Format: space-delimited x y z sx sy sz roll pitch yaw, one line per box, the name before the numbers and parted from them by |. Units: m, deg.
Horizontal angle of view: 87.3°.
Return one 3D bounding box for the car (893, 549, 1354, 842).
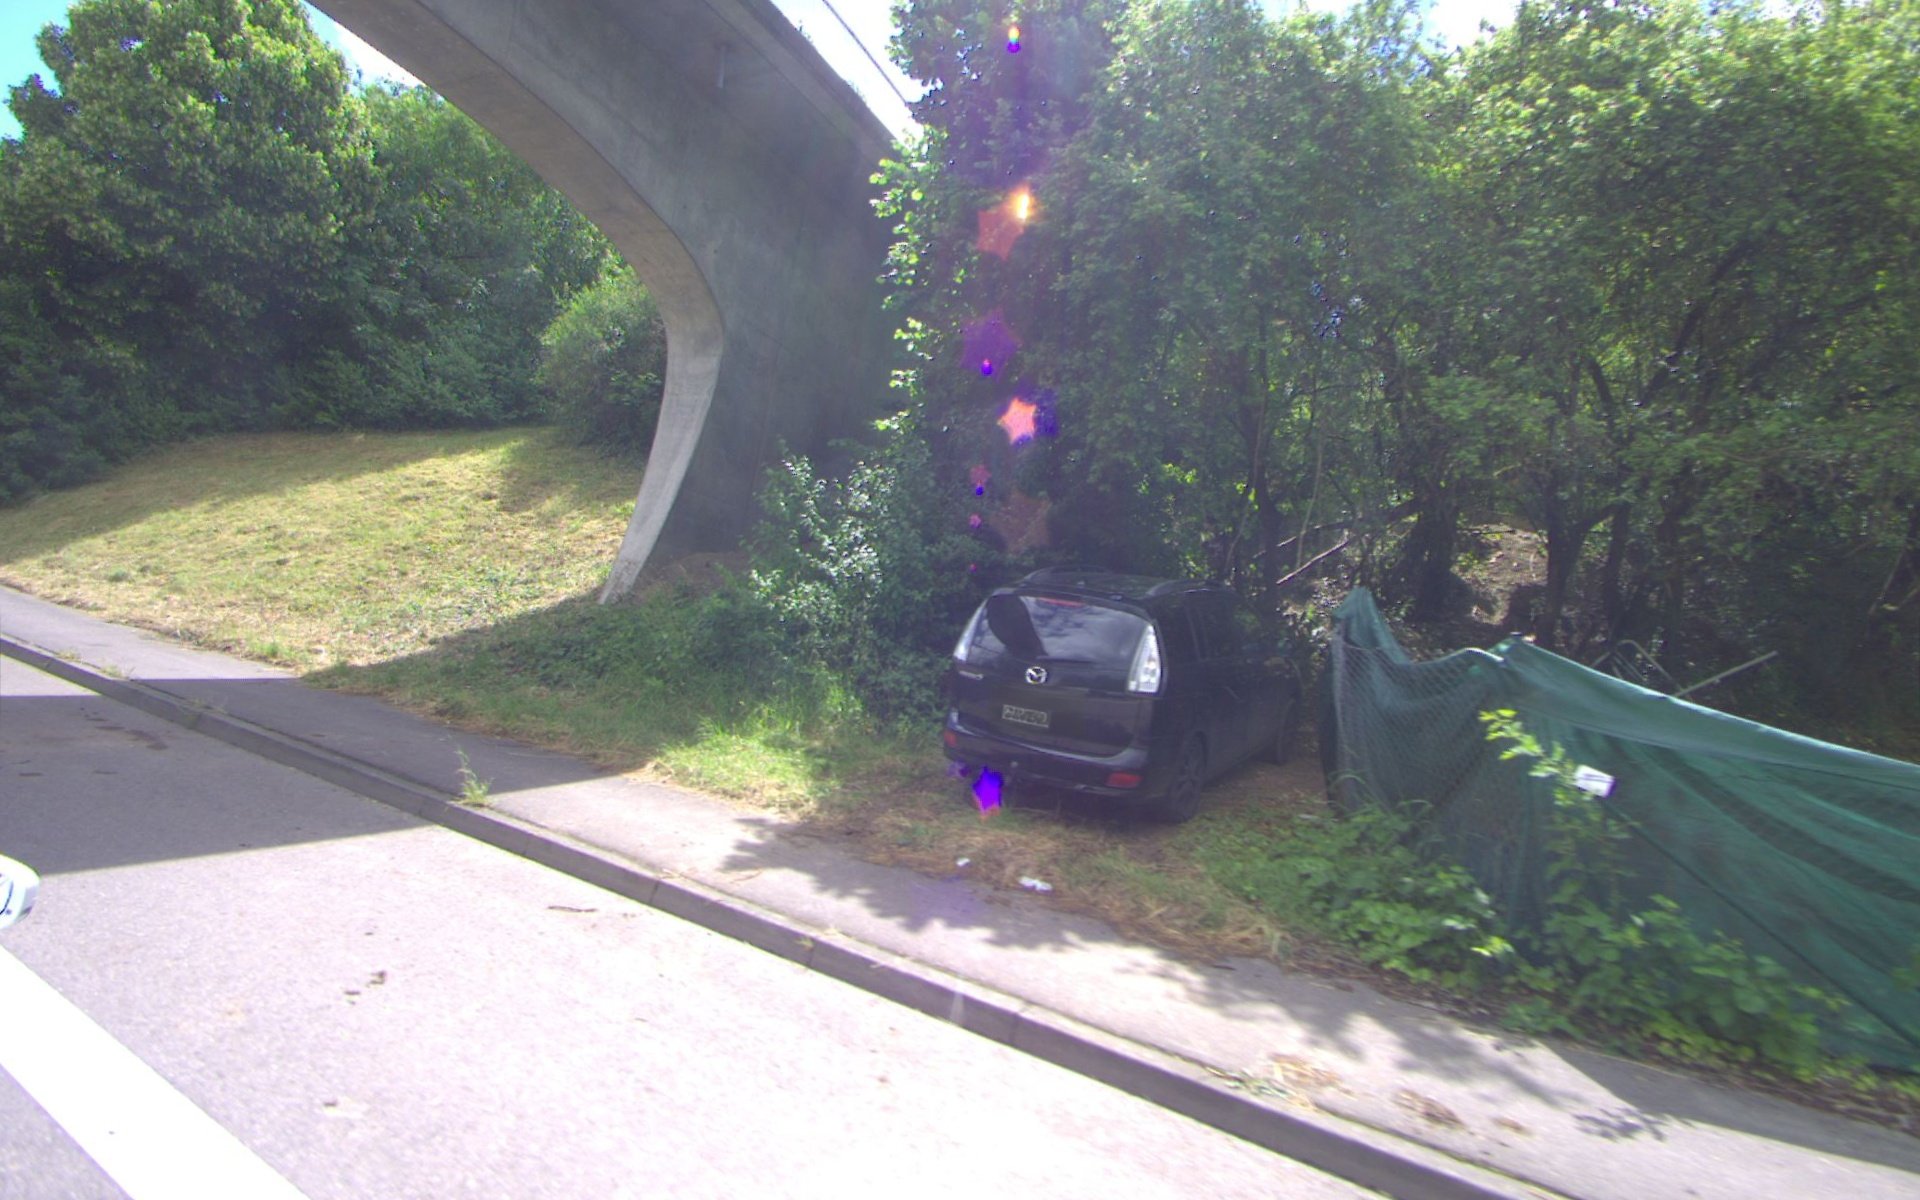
car | 1.658 0.627 8.438 1.969 1.693 4.522 5 1 35
